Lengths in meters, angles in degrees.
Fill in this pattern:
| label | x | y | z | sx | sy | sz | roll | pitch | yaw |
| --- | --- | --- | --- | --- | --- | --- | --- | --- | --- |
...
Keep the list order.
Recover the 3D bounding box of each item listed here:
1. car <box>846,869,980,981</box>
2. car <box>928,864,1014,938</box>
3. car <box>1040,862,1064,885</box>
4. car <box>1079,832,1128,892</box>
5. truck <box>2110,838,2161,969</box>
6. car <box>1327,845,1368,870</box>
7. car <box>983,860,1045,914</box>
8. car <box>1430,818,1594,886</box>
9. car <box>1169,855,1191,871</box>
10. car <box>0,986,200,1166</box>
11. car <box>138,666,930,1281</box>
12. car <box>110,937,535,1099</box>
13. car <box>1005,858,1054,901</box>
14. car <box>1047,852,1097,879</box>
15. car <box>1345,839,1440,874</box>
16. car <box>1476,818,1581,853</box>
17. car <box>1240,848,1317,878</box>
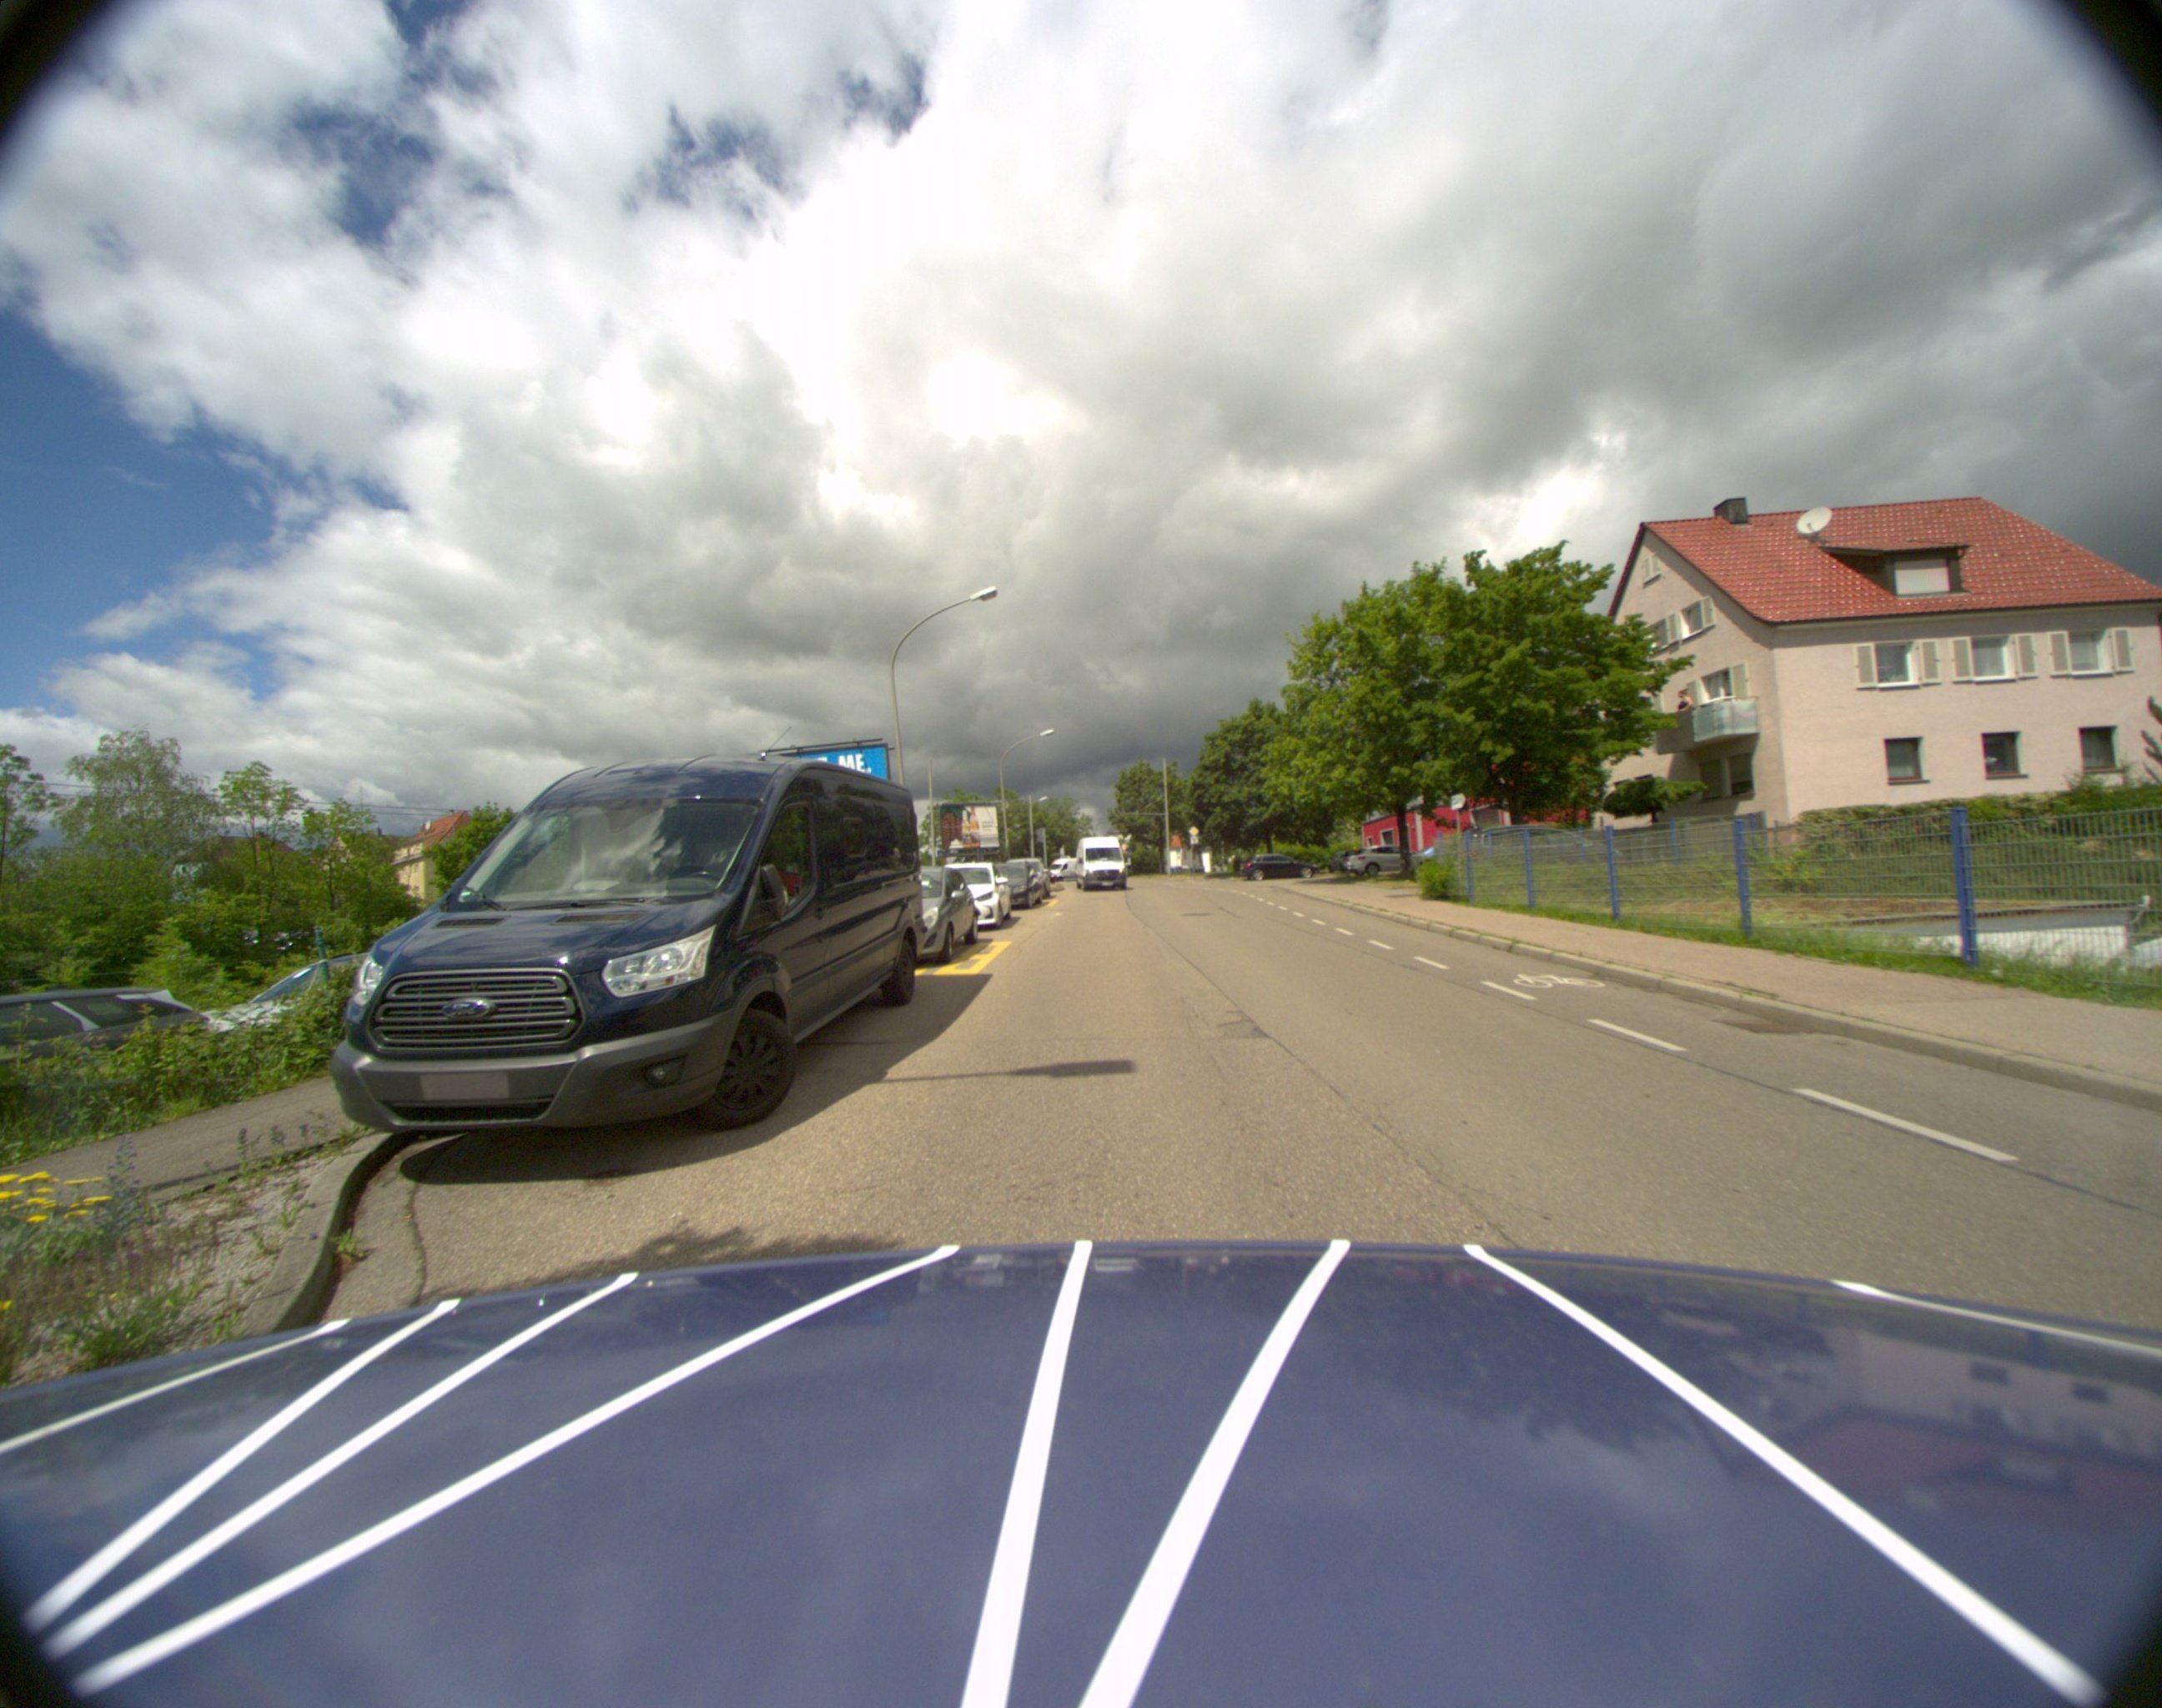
| label | x | y | z | sx | sy | sz | roll | pitch | yaw |
| --- | --- | --- | --- | --- | --- | --- | --- | --- | --- |
| car | -2.595 | 1.032 | 12.400 | 1.334 | 1.446 | 3.367 | -2 | 1 | 1 |
| car | -2.451 | 1.009 | 17.623 | 1.402 | 1.424 | 3.445 | -2 | 1 | 1 |
| car | -2.163 | 1.419 | 56.241 | 1.585 | 1.497 | 3.955 | -2 | 1 | -4 |
| car | 1.162 | 0.326 | 36.895 | 2.082 | 2.576 | 6.063 | -2 | 1 | 3 |
| truck | 23.685 | 1.049 | 13.424 | 2.321 | 2.716 | 6.594 | -2 | 1 | 4 |
| car | 16.848 | 0.178 | 48.149 | 1.584 | 1.497 | 3.861 | -2 | 1 | 7 |
| car | -2.068 | 0.988 | 24.243 | 1.522 | 1.446 | 3.957 | -2 | 1 | 1 |
| car | 12.574 | -0.066 | 22.298 | 3.955 | 1.766 | 1.523 | -2 | 1 | -3 |
| car | 13.590 | 1.232 | 103.795 | 1.958 | 1.958 | 5.137 | -2 | 1 | 19 |
| car | -10.645 | 2.163 | 6.212 | 1.821 | 1.344 | 4.300 | -2 | 1 | 0 |
| car | -2.916 | 0.502 | 6.132 | 2.059 | 2.579 | 5.734 | -2 | 1 | 1 |
| car | -10.427 | 2.161 | 11.051 | 1.821 | 1.344 | 4.300 | -2 | 1 | 0 |
| car | -1.995 | 0.967 | 30.483 | 1.585 | 1.497 | 3.957 | -2 | 1 | 1 |
| car | -0.887 | 1.199 | 80.084 | 5.140 | 2.576 | 1.956 | -3 | 1 | -41 |
| car | 14.830 | 0.119 | 36.324 | 3.856 | 1.497 | 1.586 | -2 | 1 | 0 |
| car | 21.273 | -0.874 | 36.203 | 4.016 | 1.497 | 1.586 | -2 | 1 | 4 |
| car | 10.950 | 0.470 | 42.301 | 3.855 | 1.497 | 1.586 | -2 | 1 | 4 |
